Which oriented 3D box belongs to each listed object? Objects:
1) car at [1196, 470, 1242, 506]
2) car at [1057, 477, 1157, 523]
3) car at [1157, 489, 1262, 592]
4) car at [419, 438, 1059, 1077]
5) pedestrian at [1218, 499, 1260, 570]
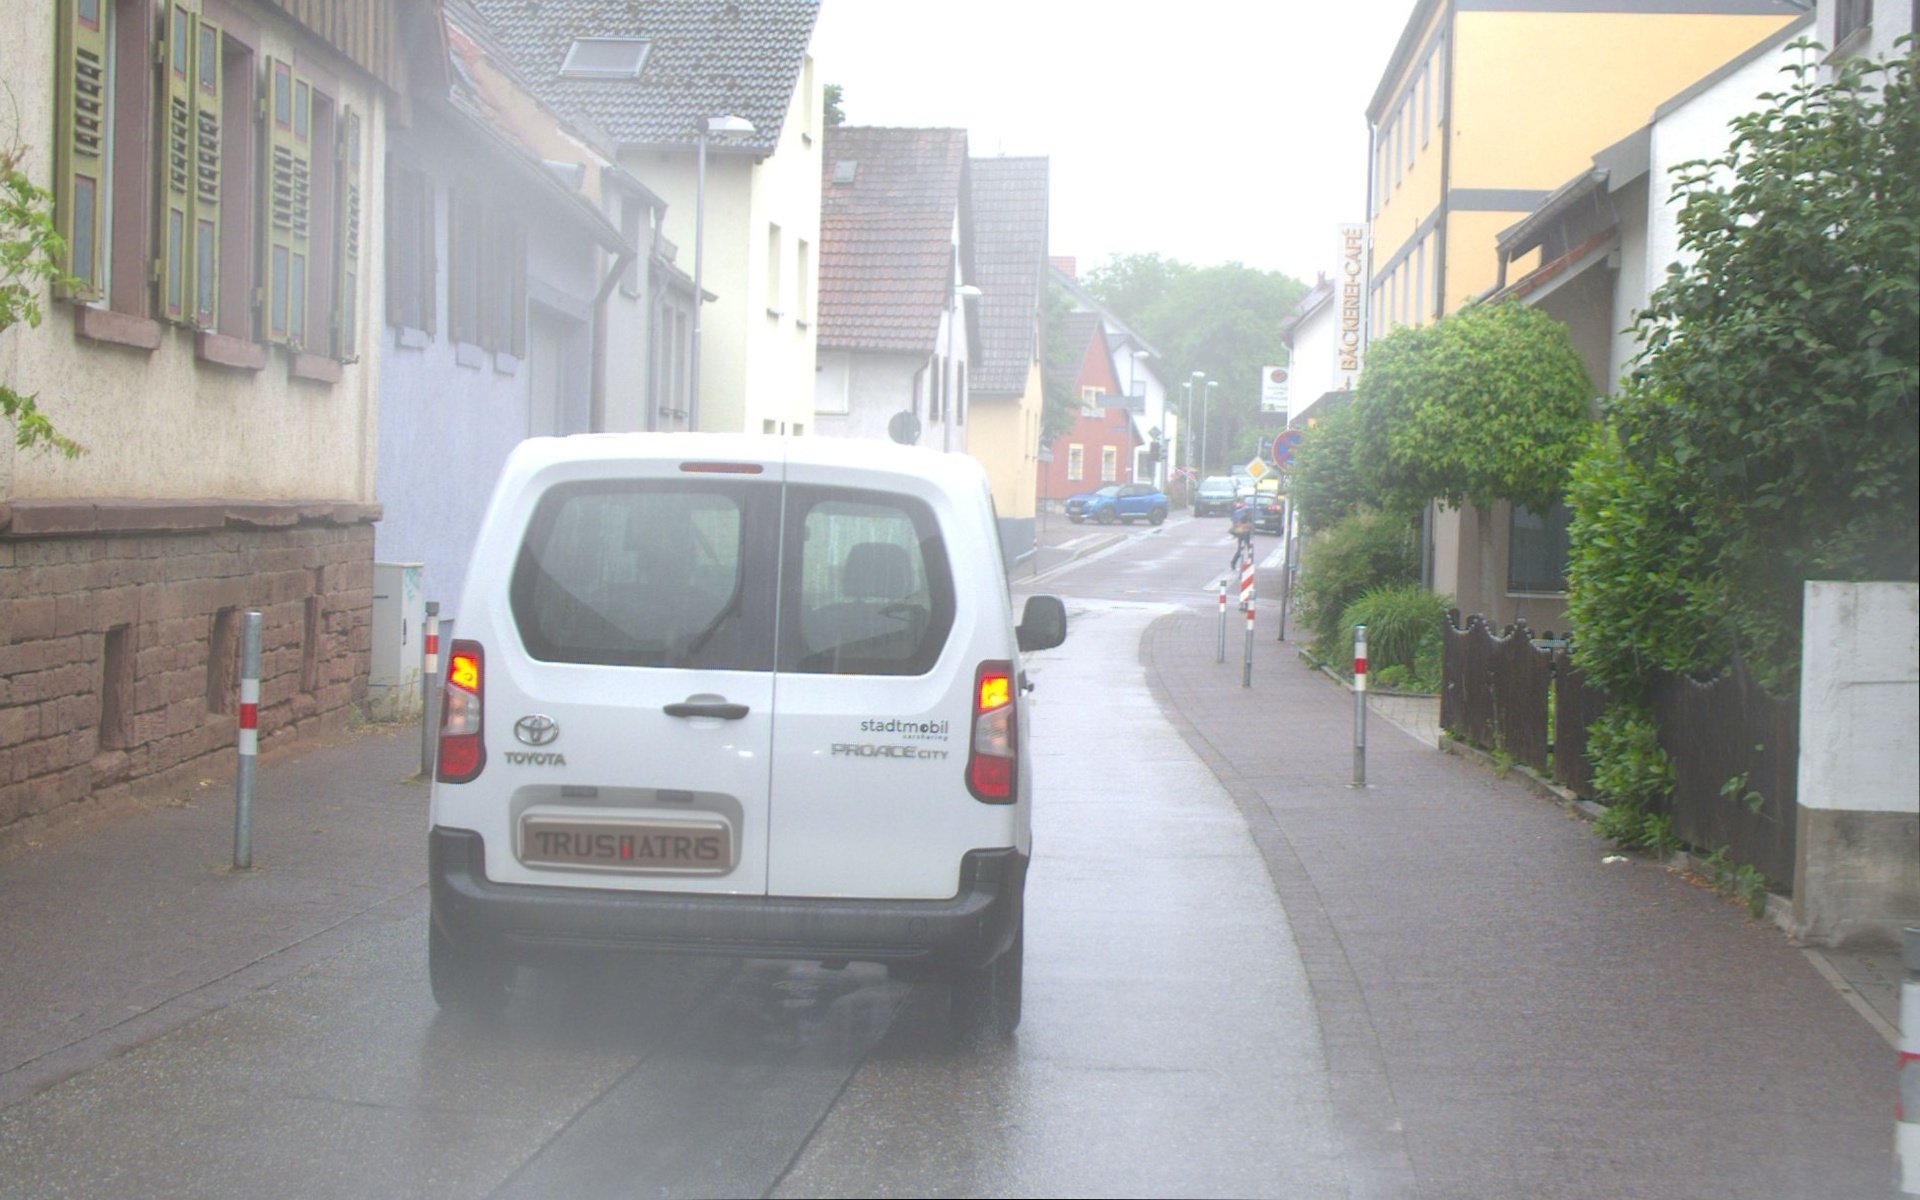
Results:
[{"bbox_3d":[11.268,-4.858,149.396,1.589,1.436,3.764,3,1,10],"label":"car"},{"bbox_3d":[5.448,-3.712,127.197,1.998,1.554,3.424,1,4,40],"label":"car"},{"bbox_3d":[5.077,-1.205,69.499,1.994,2.007,3.999,1,1,6],"label":"car"},{"bbox_3d":[-0.637,0.406,11.655,1.774,1.774,4.000,1,1,0],"label":"car"},{"bbox_3d":[7.495,-1.758,92.412,1.051,1.886,0.877,1,1,3],"label":"pedestrian"}]
